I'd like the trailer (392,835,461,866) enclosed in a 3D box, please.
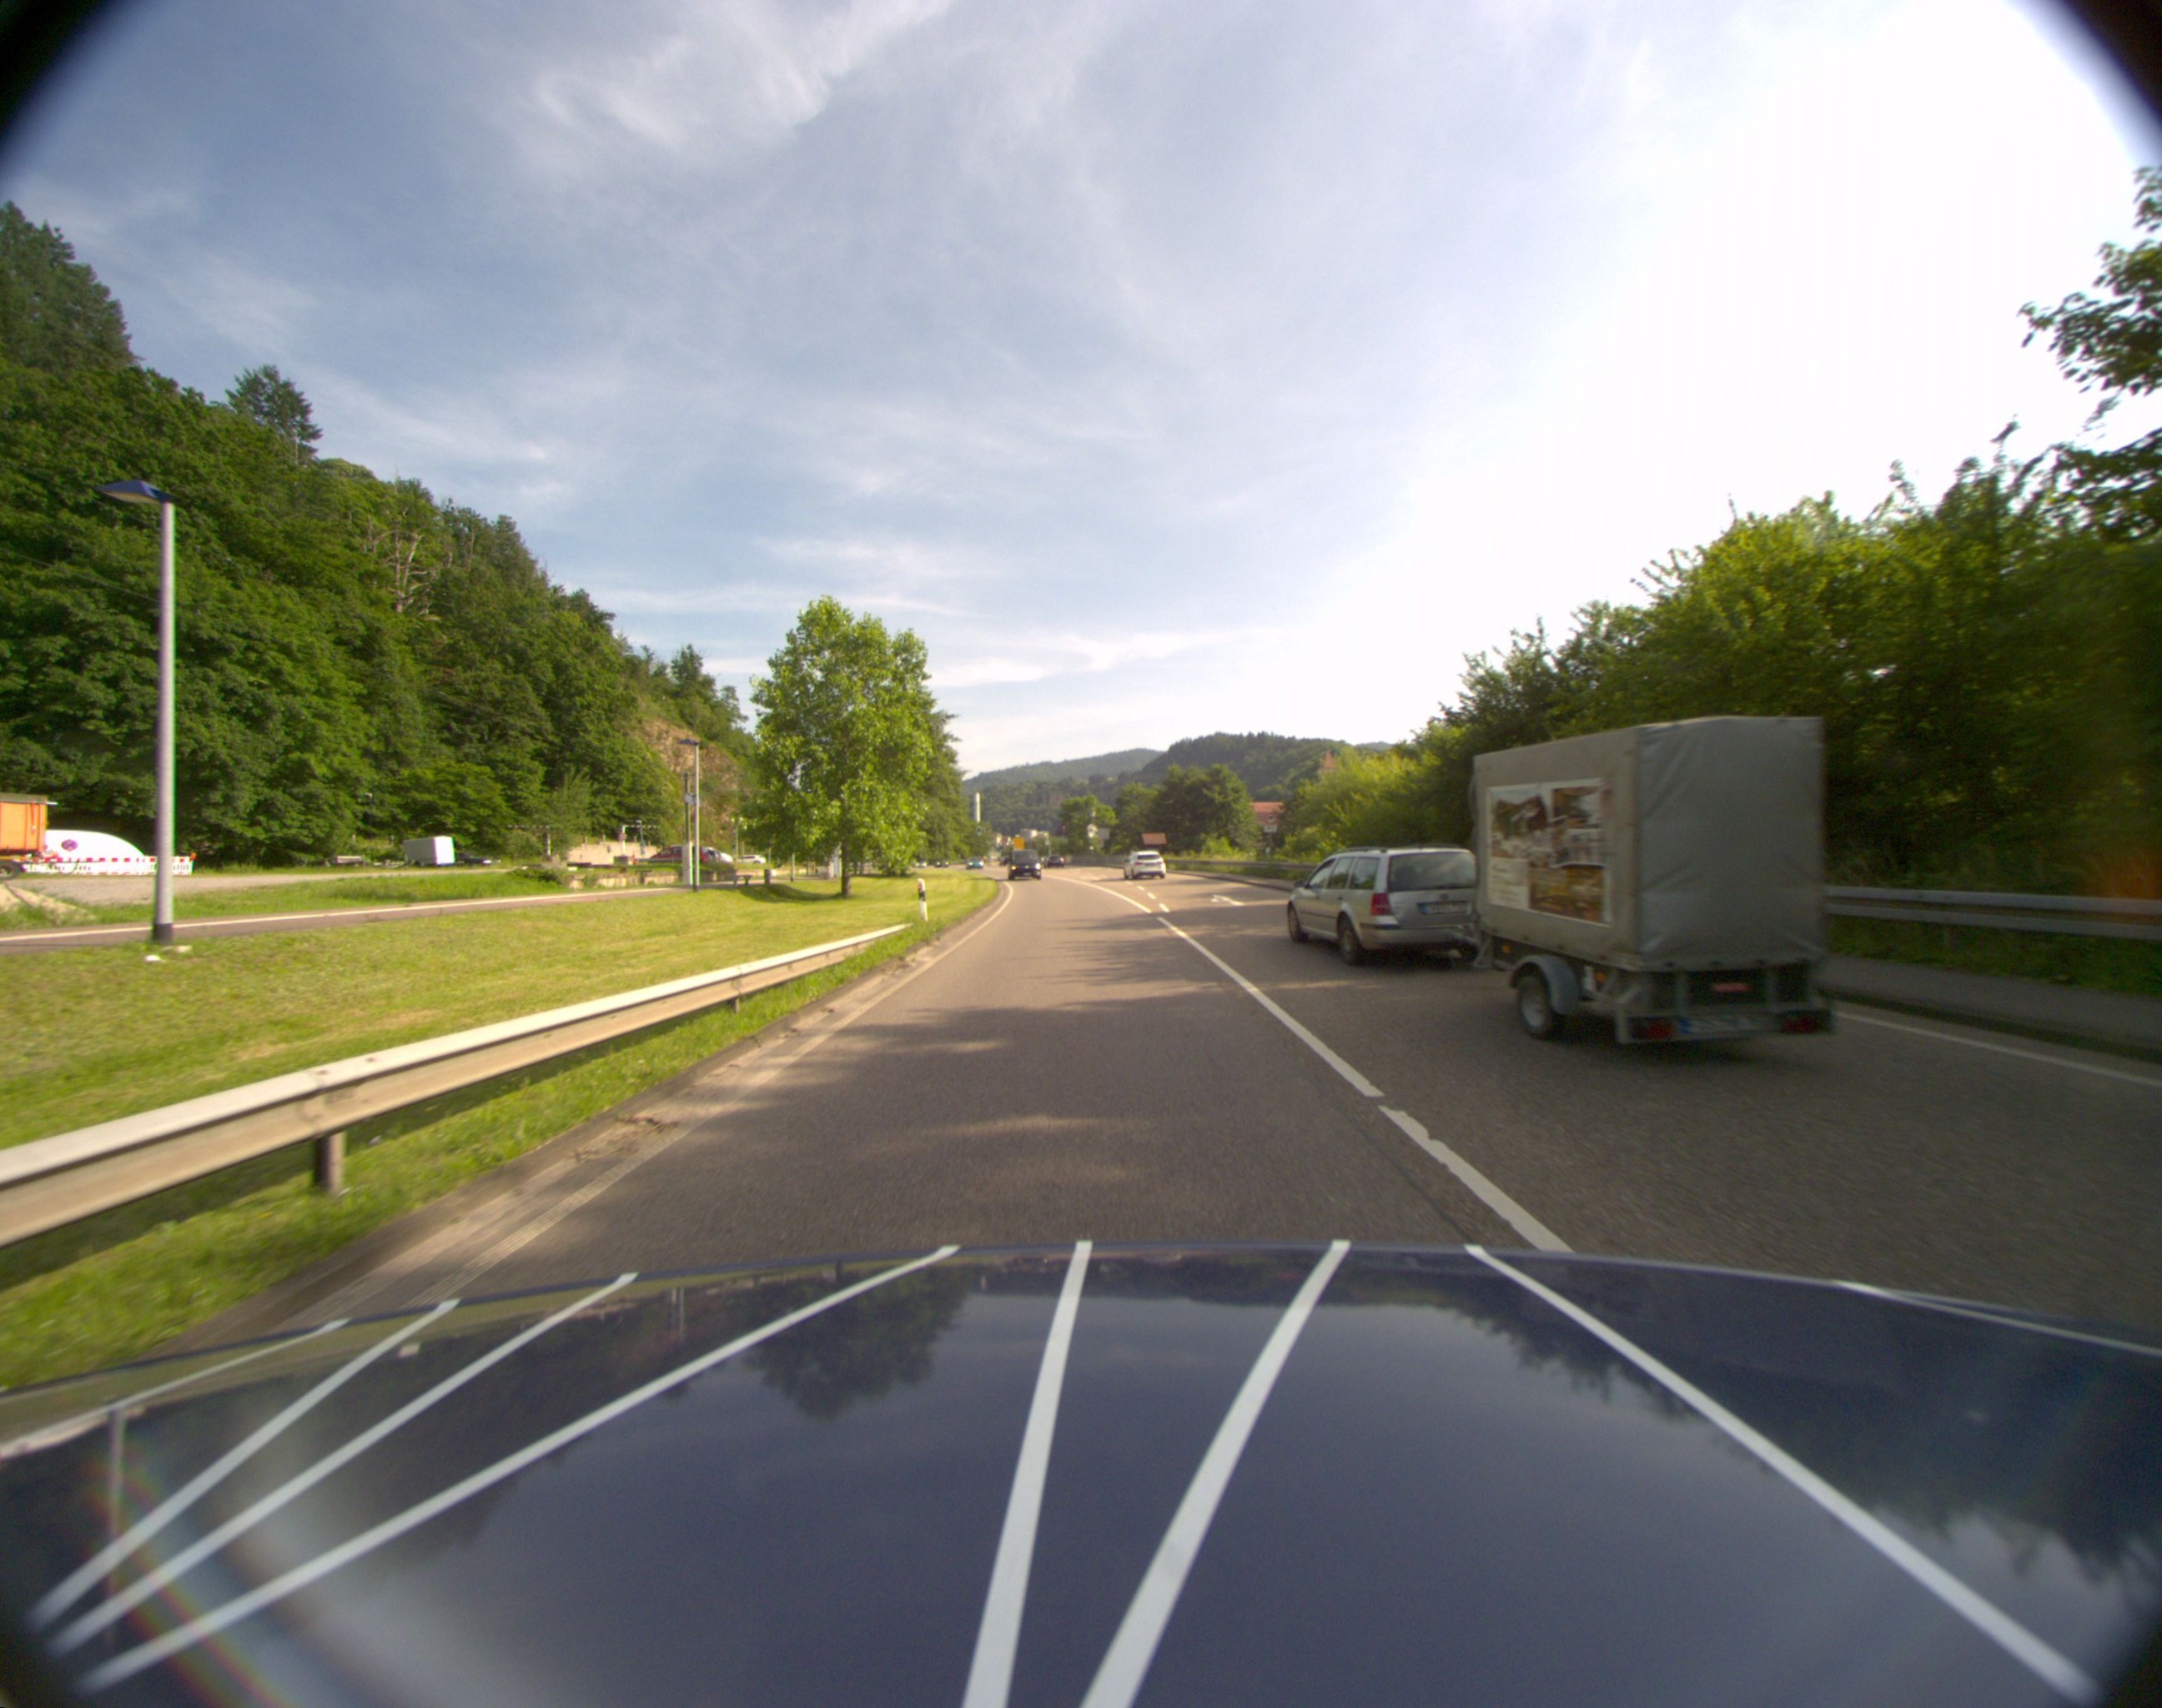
[{"bbox_3d":[-47.690,-0.226,55.408,3.699,2.177,1.819,0,1,9],"label":"trailer"}]

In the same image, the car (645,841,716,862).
[{"bbox_3d":[-34.533,-0.197,65.643,4.968,1.681,1.934,-2,0,-10],"label":"car"}]

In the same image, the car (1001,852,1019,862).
[{"bbox_3d":[-10.660,0.423,113.344,1.858,1.461,4.536,-3,1,-15],"label":"car"}]

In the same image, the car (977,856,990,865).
[{"bbox_3d":[-17.153,1.086,133.474,1.682,1.451,4.195,-2,1,-17],"label":"car"}]

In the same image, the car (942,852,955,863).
[{"bbox_3d":[-22.019,0.612,126.080,2.001,1.783,3.995,0,0,-12],"label":"car"}]

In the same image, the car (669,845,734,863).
[{"bbox_3d":[-35.340,-0.009,70.807,4.968,1.578,2.139,-2,0,-10],"label":"car"}]

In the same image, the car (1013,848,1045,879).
[{"bbox_3d":[-3.380,0.573,49.221,1.909,1.868,4.346,-2,0,-4],"label":"car"}]

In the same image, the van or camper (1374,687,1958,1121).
[{"bbox_3d":[4.022,0.278,6.236,1.606,2.315,4.059,-3,0,1],"label":"van or camper"}]

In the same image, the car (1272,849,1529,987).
[{"bbox_3d":[4.088,0.699,10.647,1.652,1.428,4.605,-3,0,1],"label":"car"}]

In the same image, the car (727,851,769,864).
[{"bbox_3d":[-39.427,0.368,90.045,4.110,1.390,1.808,-2,0,-10],"label":"car"}]

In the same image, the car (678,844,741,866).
[{"bbox_3d":[-35.693,0.089,73.181,4.968,1.932,2.139,-2,0,-10],"label":"car"}]

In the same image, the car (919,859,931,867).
[{"bbox_3d":[-30.240,1.687,147.288,1.879,1.452,3.724,0,0,-16],"label":"car"}]

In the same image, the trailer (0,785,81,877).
[{"bbox_3d":[-46.876,-0.969,30.528,2.611,3.871,7.738,0,0,9],"label":"trailer"}]

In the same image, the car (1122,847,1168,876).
[{"bbox_3d":[3.571,0.402,43.241,1.950,1.478,4.583,-2,0,-3],"label":"car"}]

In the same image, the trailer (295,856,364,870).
[{"bbox_3d":[-49.875,0.573,50.440,3.067,0.909,1.738,0,0,9],"label":"trailer"}]

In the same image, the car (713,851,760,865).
[{"bbox_3d":[-37.153,0.401,81.981,4.279,1.335,1.830,-2,0,-10],"label":"car"}]

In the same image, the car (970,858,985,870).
[{"bbox_3d":[-12.955,1.260,95.271,1.769,1.452,3.573,0,0,-9],"label":"car"}]

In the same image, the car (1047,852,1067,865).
[{"bbox_3d":[-2.645,0.473,83.018,1.699,1.394,4.198,-2,0,-8],"label":"car"}]

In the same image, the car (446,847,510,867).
[{"bbox_3d":[-45.200,0.237,56.992,3.608,1.478,1.671,0,0,7],"label":"car"}]

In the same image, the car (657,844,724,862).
[{"bbox_3d":[-34.983,-0.069,68.265,4.968,1.460,1.894,-2,0,-10],"label":"car"}]
